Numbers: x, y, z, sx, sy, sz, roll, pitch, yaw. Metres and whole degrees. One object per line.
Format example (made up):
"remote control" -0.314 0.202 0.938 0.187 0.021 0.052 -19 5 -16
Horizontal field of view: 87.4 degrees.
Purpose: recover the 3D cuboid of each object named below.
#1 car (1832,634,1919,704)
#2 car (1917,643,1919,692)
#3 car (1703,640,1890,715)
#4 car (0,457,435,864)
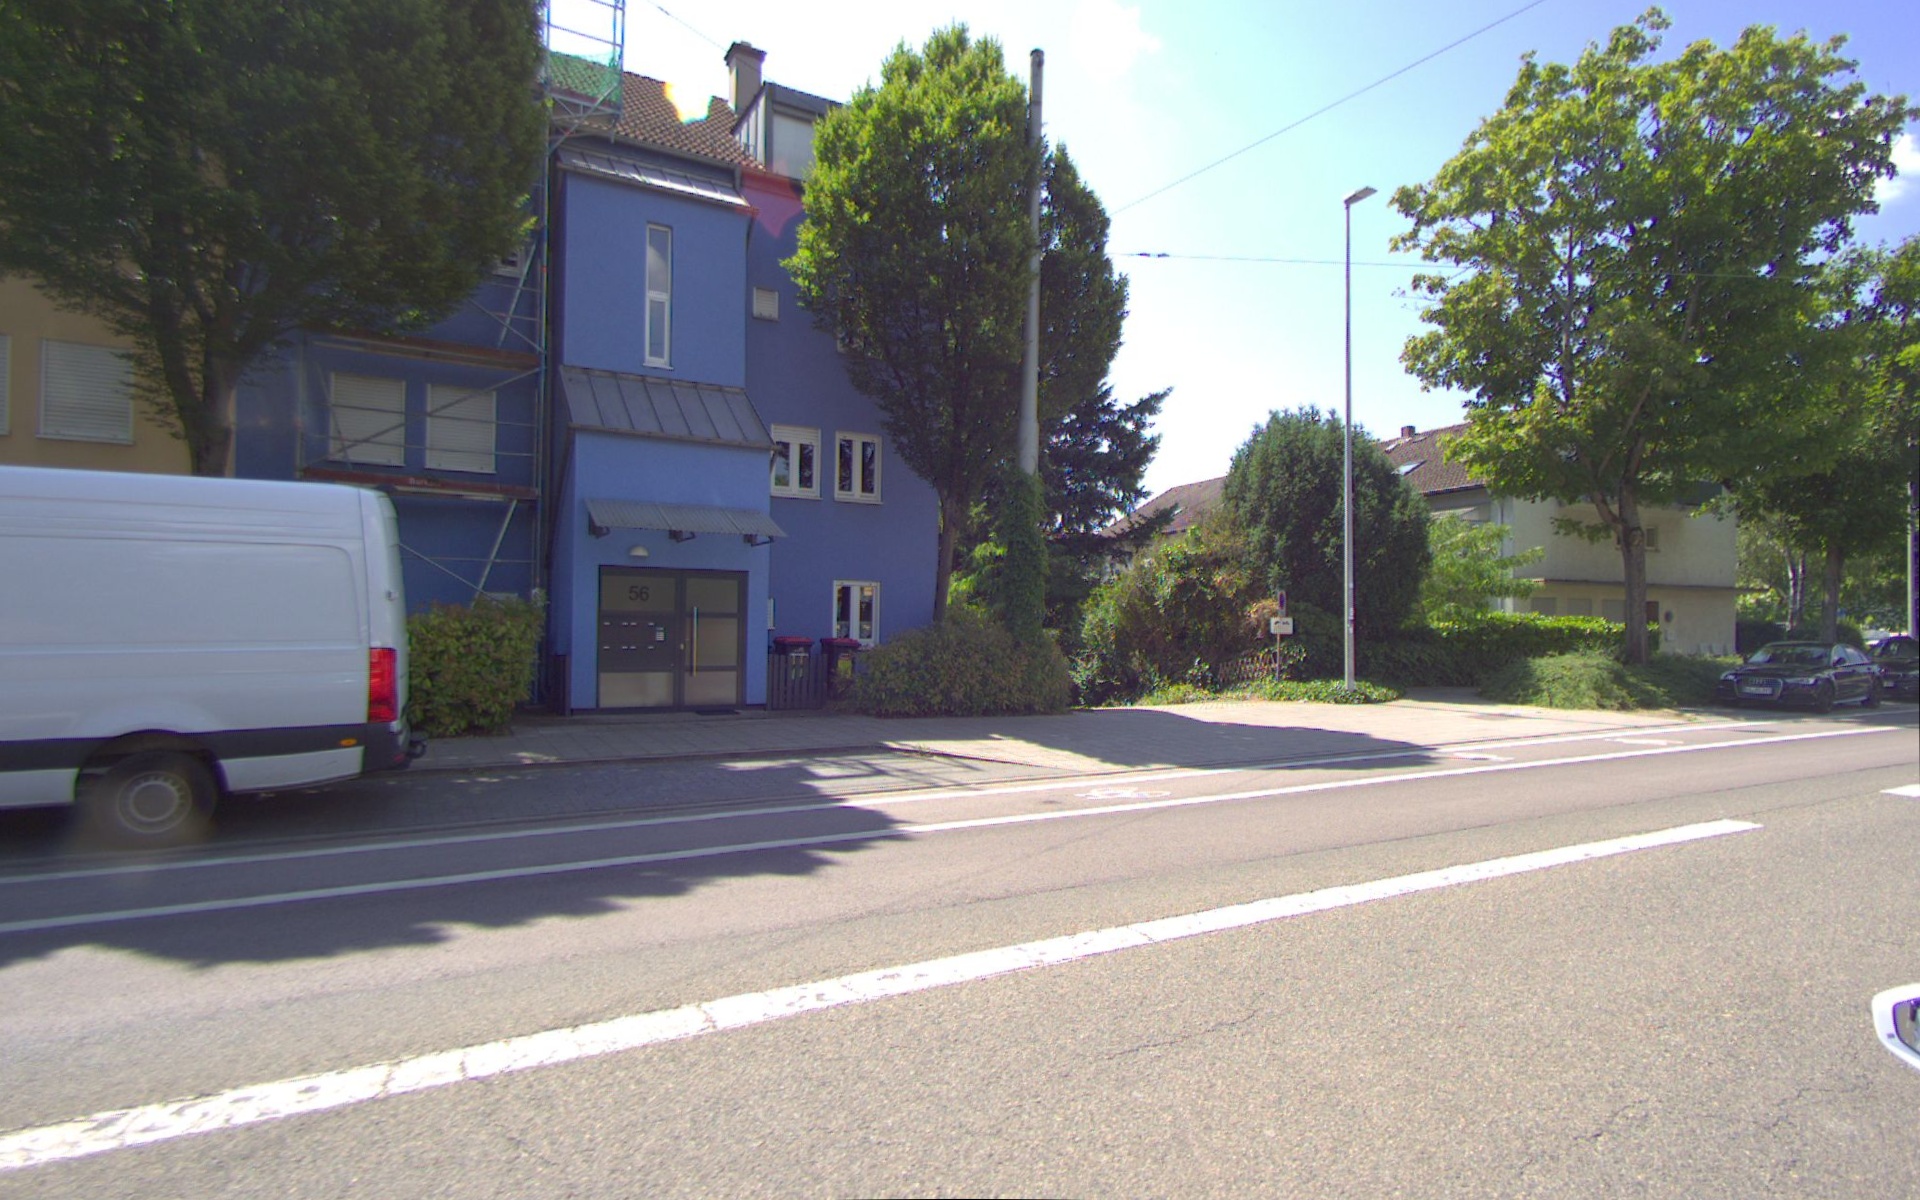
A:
"car" 24.460 1.726 25.843 4.585 1.625 1.765 2 0 -31
"car" 29.372 1.978 28.710 4.644 1.391 1.765 2 1 -31
"car" 18.566 1.648 22.228 4.750 1.475 1.765 2 -1 -31
"car" -7.698 0.323 7.162 6.949 2.687 2.313 1 3 -29
